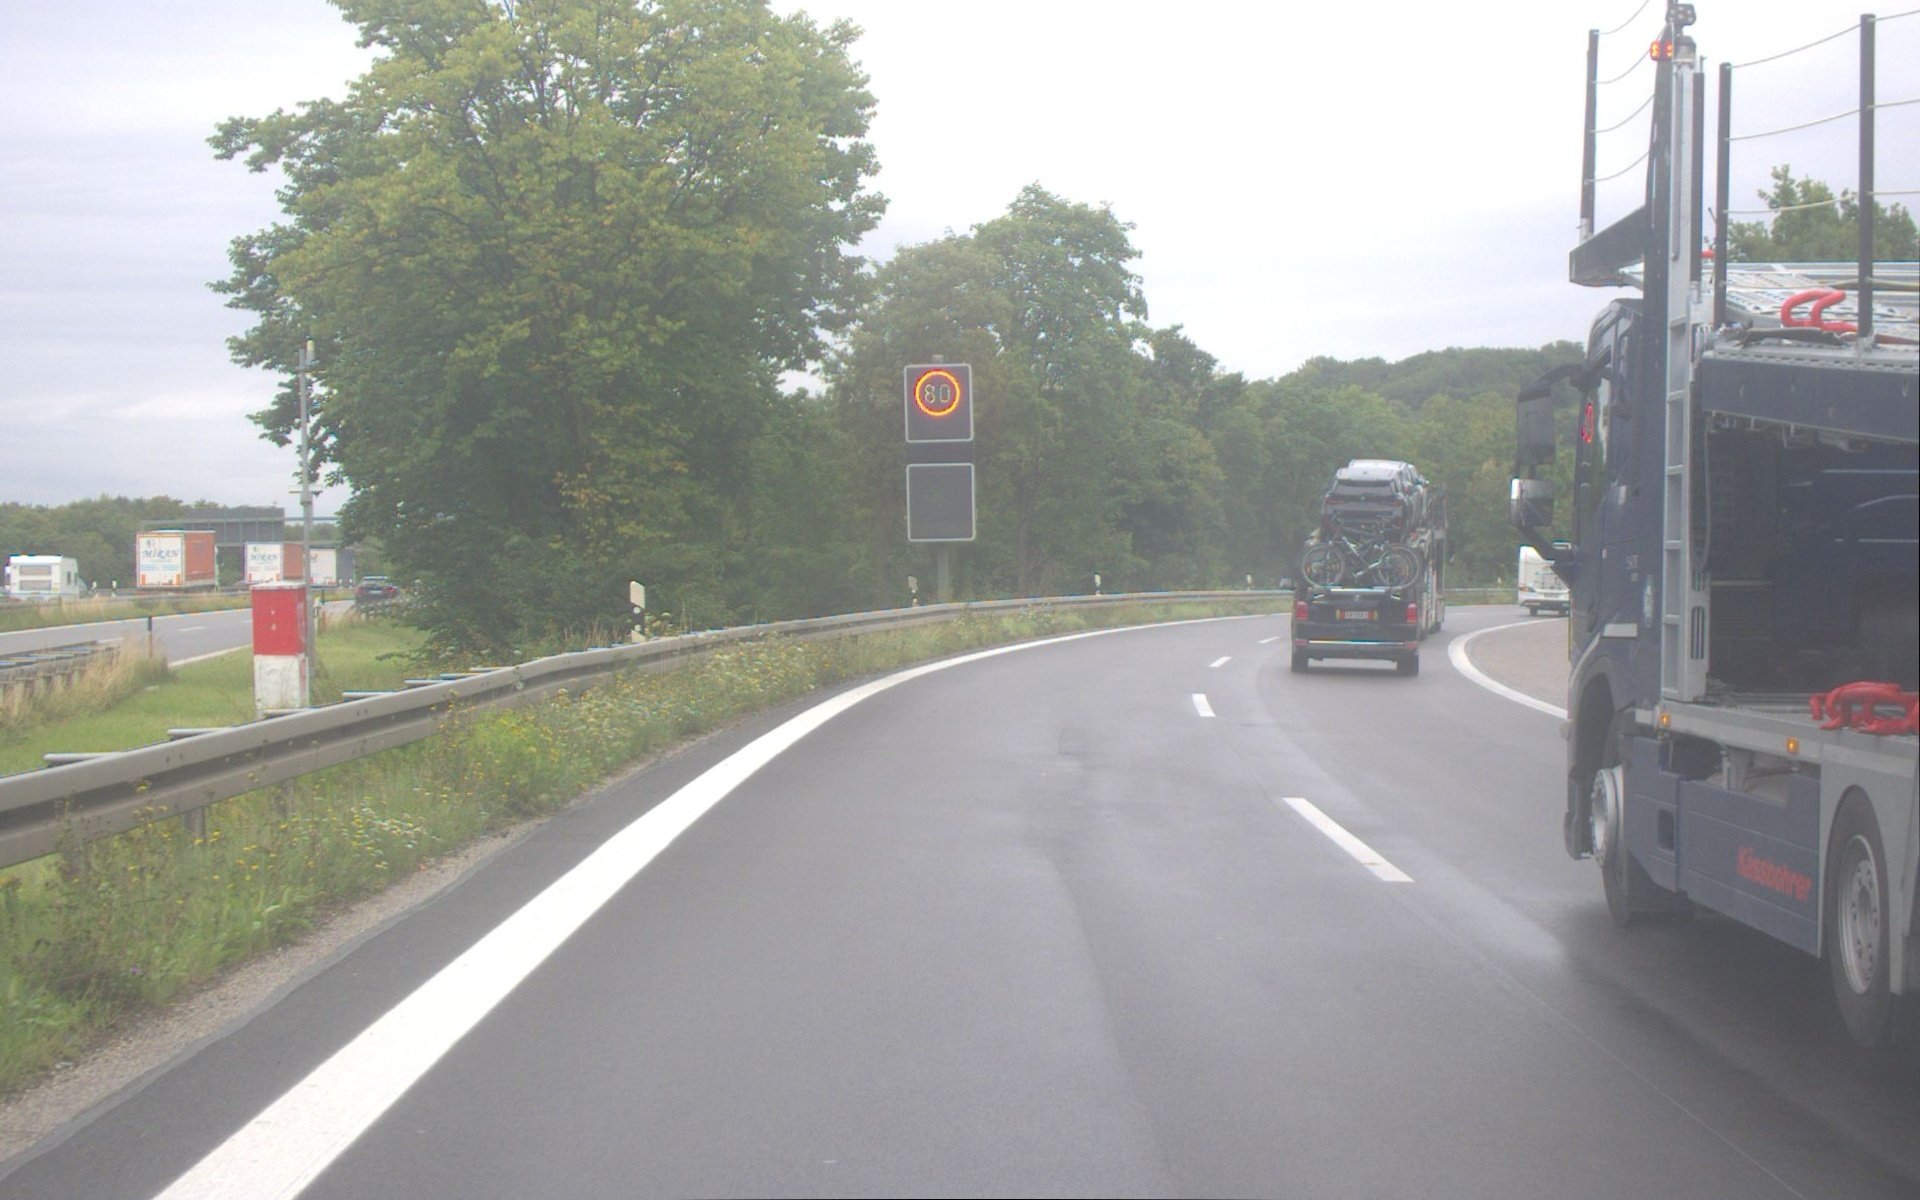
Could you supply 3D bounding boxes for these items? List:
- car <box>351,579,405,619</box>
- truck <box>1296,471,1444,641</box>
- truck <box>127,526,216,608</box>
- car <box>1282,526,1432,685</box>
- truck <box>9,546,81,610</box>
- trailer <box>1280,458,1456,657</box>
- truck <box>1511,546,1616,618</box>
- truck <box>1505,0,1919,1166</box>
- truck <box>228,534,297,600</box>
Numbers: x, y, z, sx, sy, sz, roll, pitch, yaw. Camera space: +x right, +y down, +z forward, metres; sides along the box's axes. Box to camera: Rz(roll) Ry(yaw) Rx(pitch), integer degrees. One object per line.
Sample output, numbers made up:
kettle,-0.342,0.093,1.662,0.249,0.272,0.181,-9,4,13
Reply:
car,-24.787,-0.047,146.544,1.961,1.632,5.626,0,0,-7
truck,10.581,-1.136,88.928,3.395,3.986,10.844,3,1,7
truck,-43.588,-1.809,190.339,3.732,4.402,10.197,1,0,-7
car,6.013,0.055,51.894,2.110,2.257,5.895,0,0,7
truck,-39.237,-0.960,147.526,2.242,2.695,5.280,1,0,-7
trailer,9.185,-0.969,77.520,3.450,3.986,12.024,3,1,7
truck,22.548,-0.685,128.306,2.651,2.596,6.412,0,0,21
truck,3.904,-0.537,11.754,2.739,3.954,9.128,1,1,1
truck,-48.492,-2.297,239.352,3.732,4.402,11.899,1,0,-7
